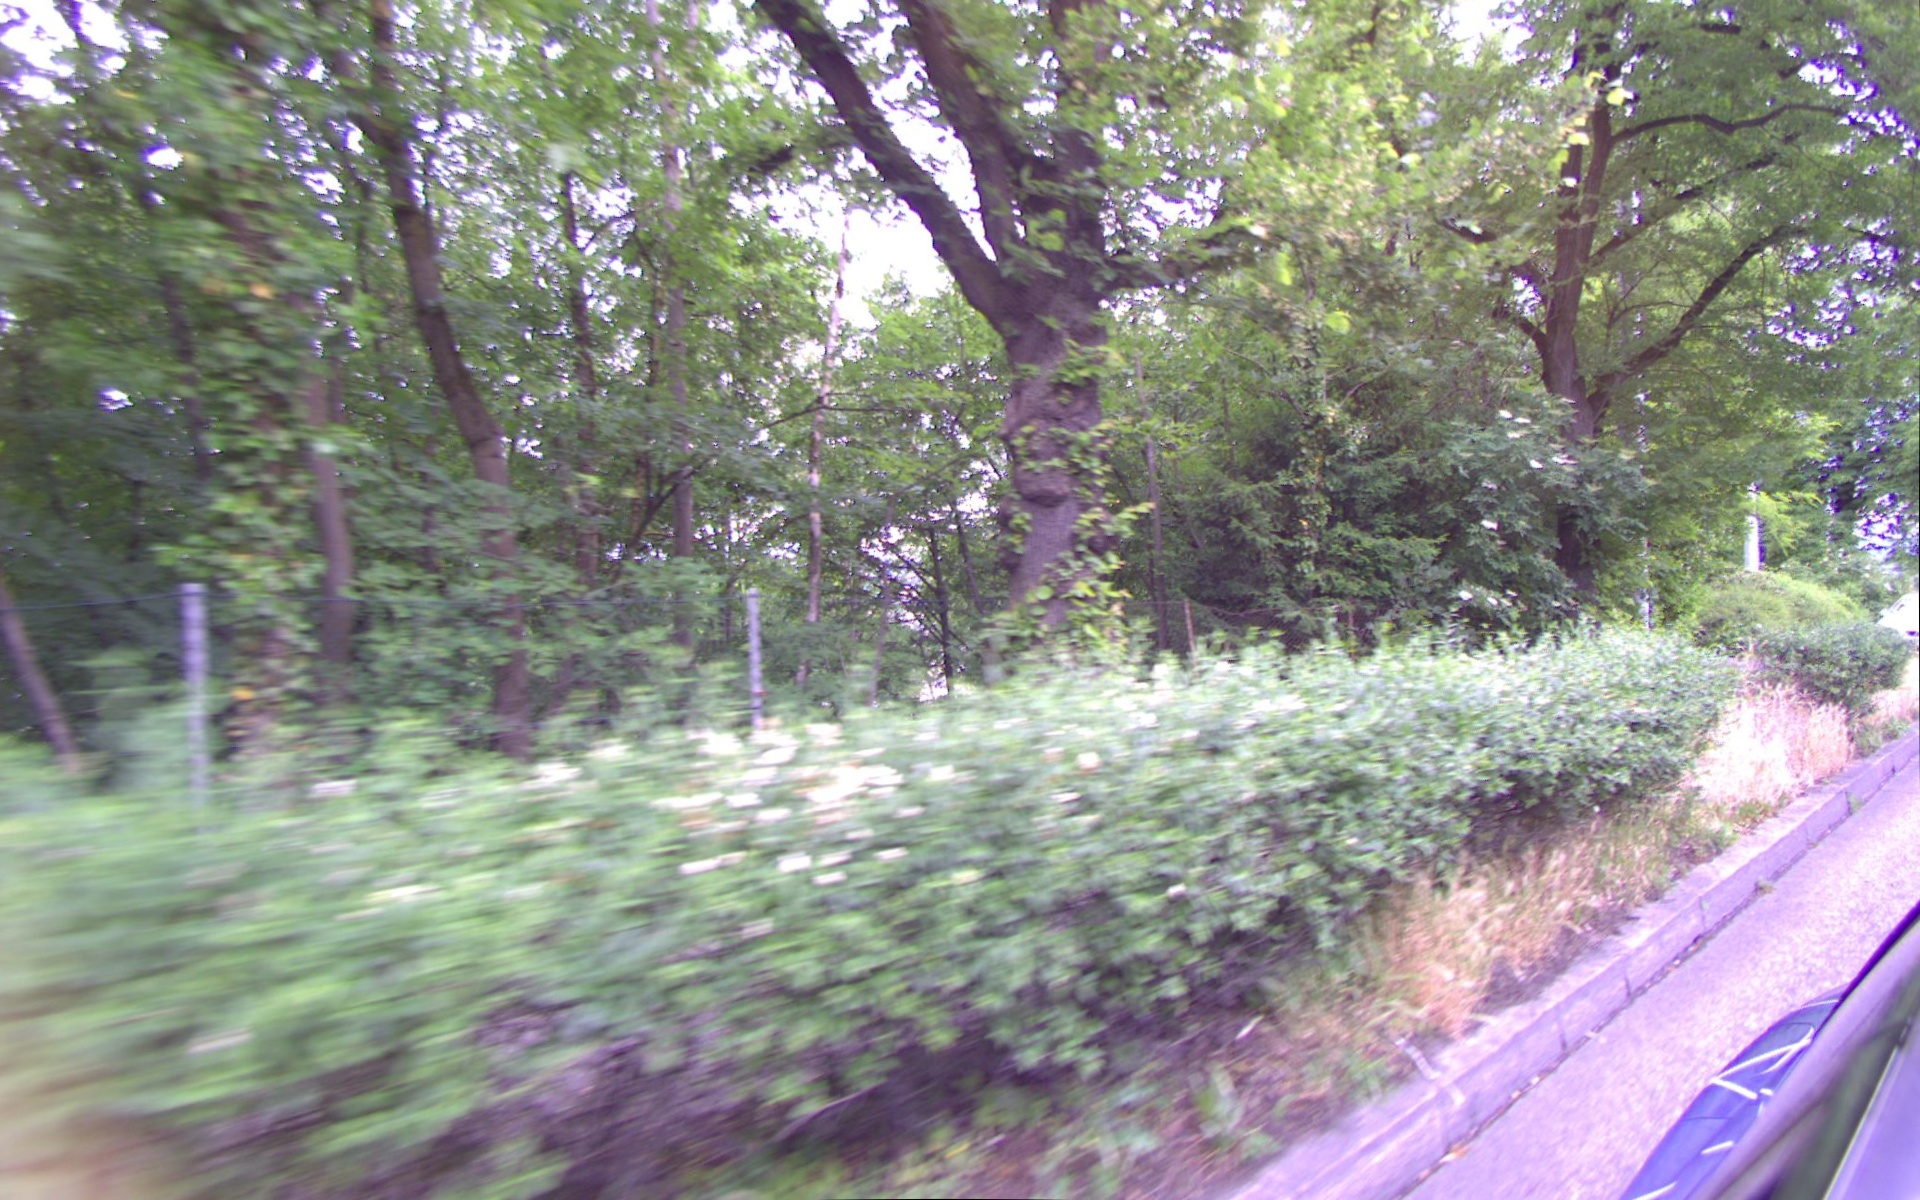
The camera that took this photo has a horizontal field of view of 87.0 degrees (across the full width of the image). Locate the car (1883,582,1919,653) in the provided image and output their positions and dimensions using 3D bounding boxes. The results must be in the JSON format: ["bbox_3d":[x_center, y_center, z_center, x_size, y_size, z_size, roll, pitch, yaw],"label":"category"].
[{"bbox_3d":[21.757,0.398,22.168,3.823,1.459,1.765,0,3,-41],"label":"car"}]
